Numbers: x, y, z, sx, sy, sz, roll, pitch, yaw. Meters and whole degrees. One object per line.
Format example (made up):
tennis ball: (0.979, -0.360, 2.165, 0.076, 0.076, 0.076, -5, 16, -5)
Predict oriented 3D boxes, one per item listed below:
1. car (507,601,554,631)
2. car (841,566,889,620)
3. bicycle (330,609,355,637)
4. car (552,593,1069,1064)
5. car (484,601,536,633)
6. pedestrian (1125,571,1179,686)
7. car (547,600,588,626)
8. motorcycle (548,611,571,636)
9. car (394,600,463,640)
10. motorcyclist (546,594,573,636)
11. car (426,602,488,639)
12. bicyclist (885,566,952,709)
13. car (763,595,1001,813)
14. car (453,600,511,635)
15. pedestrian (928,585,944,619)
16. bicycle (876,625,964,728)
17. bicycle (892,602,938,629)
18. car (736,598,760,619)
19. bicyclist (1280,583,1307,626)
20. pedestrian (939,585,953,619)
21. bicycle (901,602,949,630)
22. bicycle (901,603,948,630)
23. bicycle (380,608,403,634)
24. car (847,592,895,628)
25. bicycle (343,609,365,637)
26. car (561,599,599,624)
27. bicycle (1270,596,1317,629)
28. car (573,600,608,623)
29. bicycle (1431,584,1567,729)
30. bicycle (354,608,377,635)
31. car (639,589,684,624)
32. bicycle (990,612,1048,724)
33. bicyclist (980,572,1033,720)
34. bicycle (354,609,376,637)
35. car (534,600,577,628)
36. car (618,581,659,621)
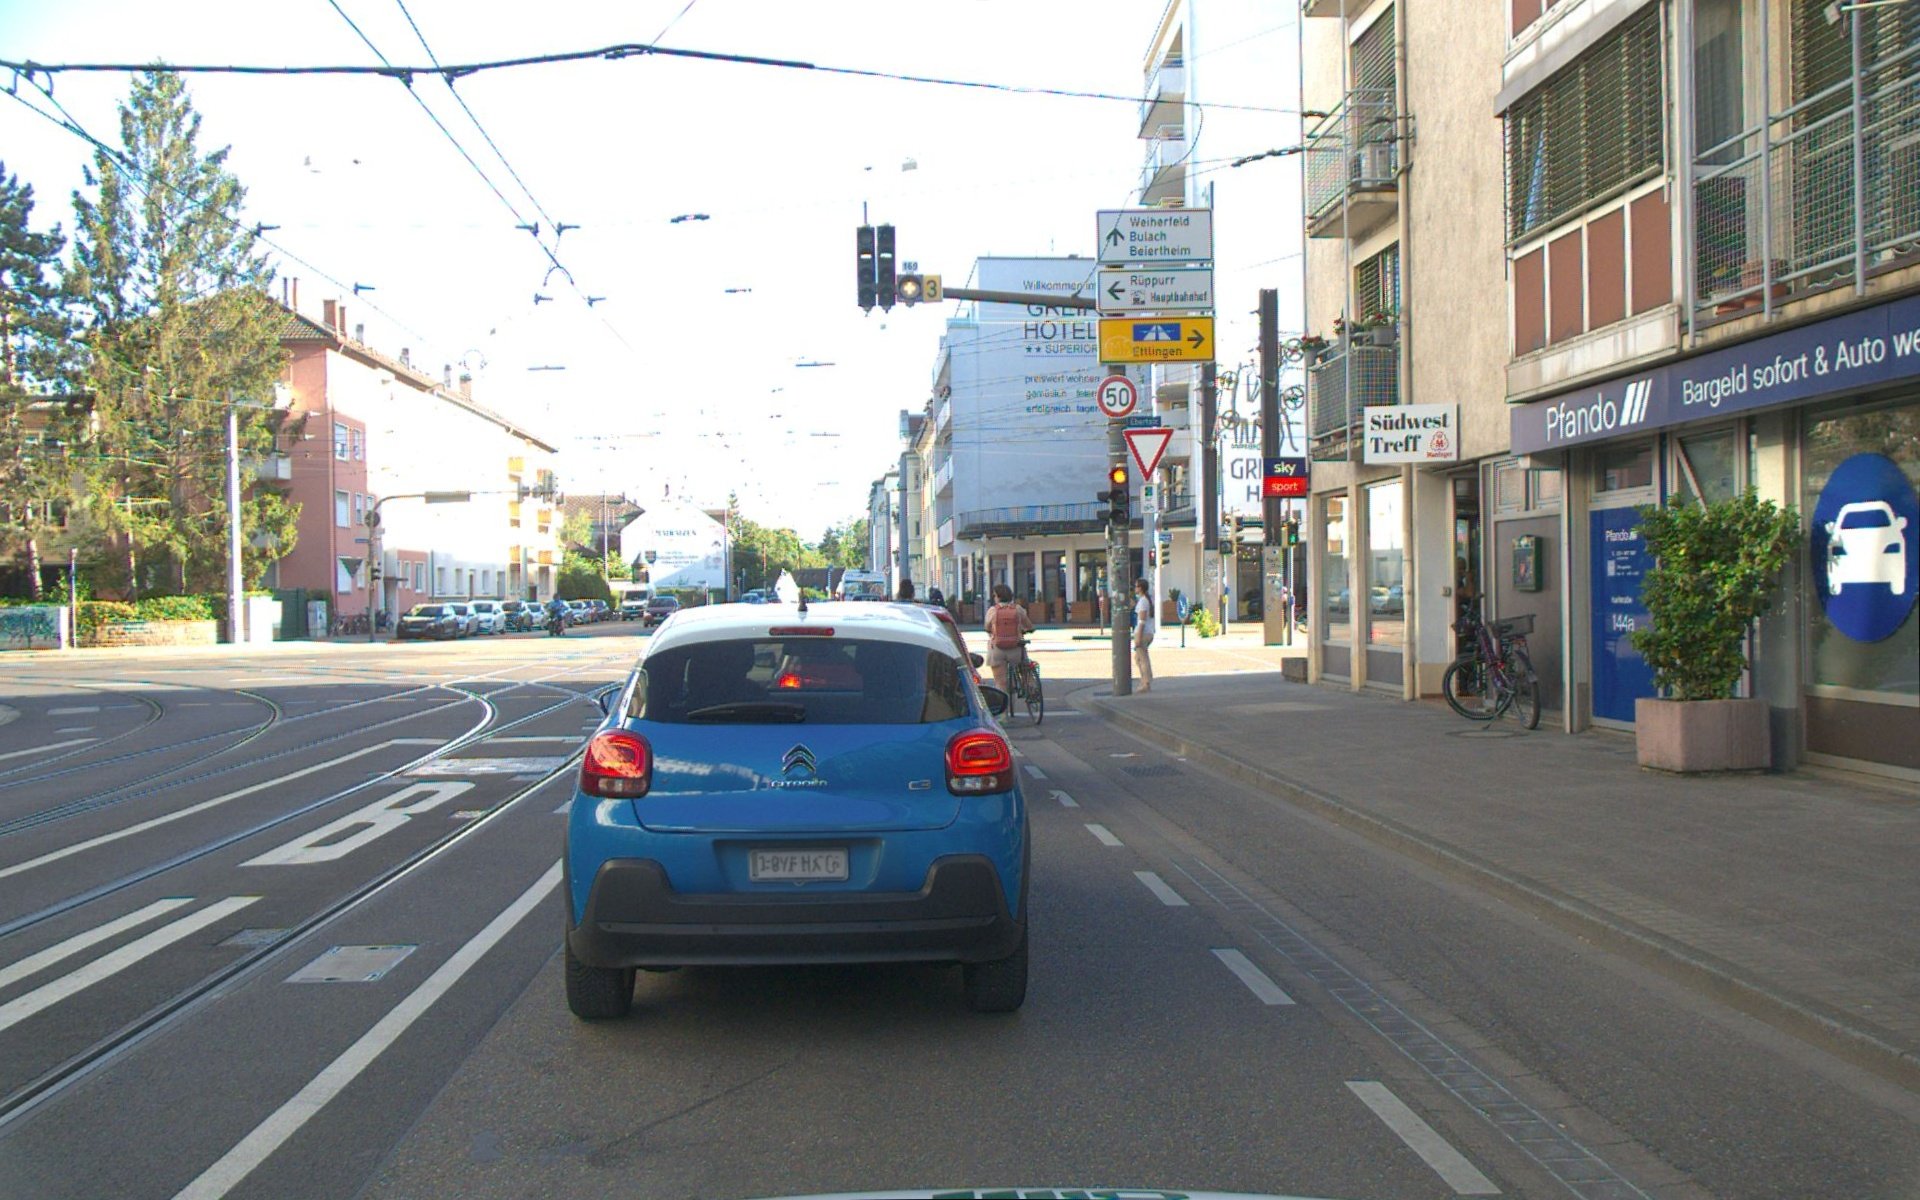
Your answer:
car: (-23.761, 0.858, 91.552, 1.913, 1.545, 3.995, -1, 0, -6)
car: (-4.230, -0.316, 73.162, 2.039, 2.309, 5.646, 0, 0, -4)
bicycle: (-24.981, 0.919, 66.976, 0.628, 1.101, 1.905, -1, 0, -11)
car: (-0.614, 0.729, 7.334, 1.647, 1.488, 3.997, 1, 0, -4)
car: (-23.232, 0.841, 85.503, 1.913, 1.545, 3.995, -1, 0, -6)
pedestrian: (2.819, 0.412, 24.325, 0.735, 1.663, 0.740, -1, 0, 5)
car: (-24.406, 0.811, 102.974, 1.913, 1.545, 3.995, -1, 0, -6)
motorcycle: (-16.224, 0.941, 67.005, 0.738, 0.993, 2.092, -1, 0, -9)
car: (-22.013, 0.792, 68.635, 1.913, 1.545, 3.995, -1, 0, -6)
motorcyclist: (-16.204, 0.608, 66.937, 0.973, 1.659, 0.737, -1, 0, -10)
car: (-22.552, 0.877, 74.240, 1.913, 1.545, 4.040, -1, 0, -6)
bicyclist: (-0.504, 0.431, 19.737, 0.607, 1.658, 0.756, -1, 0, -16)
car: (-0.680, 0.725, 13.542, 1.647, 1.488, 3.997, 1, 0, -4)
car: (-22.754, 0.822, 78.846, 1.913, 1.545, 3.995, -1, 0, -6)
pedestrian: (-1.009, 0.091, 70.221, 0.514, 1.445, 0.547, -1, 0, 19)
bicycle: (-0.501, 0.886, 19.756, 0.606, 1.123, 1.878, -1, 0, -15)
bicycle: (-1.859, 0.644, 68.254, 1.868, 1.083, 0.641, -1, 0, -8)
car: (-21.806, 0.816, 170.477, 2.293, 2.074, 5.044, -1, 0, -6)
bicyclist: (11.562, 0.158, 57.359, 0.715, 1.459, 0.603, -1, 0, 37)
pedestrian: (-0.584, 0.086, 69.976, 0.459, 1.445, 0.525, -1, 0, -13)
bicycle: (-1.392, 0.641, 65.763, 1.868, 1.083, 0.641, -1, 0, -8)
bicycle: (-1.445, 0.666, 67.068, 1.868, 1.083, 0.641, -1, 0, -8)
bicycle: (-25.671, 0.942, 74.677, 0.597, 1.101, 1.908, -1, 0, -7)
car: (-3.675, 0.385, 67.723, 1.752, 1.383, 3.909, -1, 0, -6)
bicycle: (-24.587, 0.929, 67.101, 0.527, 1.101, 1.905, -1, 0, -11)
car: (-24.848, 0.753, 108.247, 1.913, 1.545, 3.995, -1, 0, -6)
bicycle: (11.556, 0.443, 57.379, 1.464, 1.110, 0.603, -1, 0, 37)
car: (-25.563, 0.792, 114.578, 1.913, 1.545, 3.995, -1, 0, -6)
bicycle: (5.112, 0.503, 15.802, 0.627, 1.287, 1.910, -1, 0, -1)
bicycle: (-25.873, 0.928, 71.971, 0.527, 1.101, 1.908, -1, 0, -7)
car: (-15.041, 0.295, 83.504, 1.967, 1.656, 5.045, -1, 0, -7)
bicycle: (0.720, 0.813, 20.620, 0.601, 1.287, 1.910, -1, 0, -1)
bicyclist: (0.567, 0.550, 20.579, 0.588, 1.776, 1.084, -1, 0, -1)
bicycle: (-24.229, 0.937, 67.400, 0.527, 1.101, 1.905, -1, 0, -11)
car: (-23.932, 0.826, 97.977, 1.913, 1.545, 3.995, -1, 0, -6)
car: (-23.220, 0.072, 119.562, 2.446, 2.759, 5.828, -1, 0, -7)
